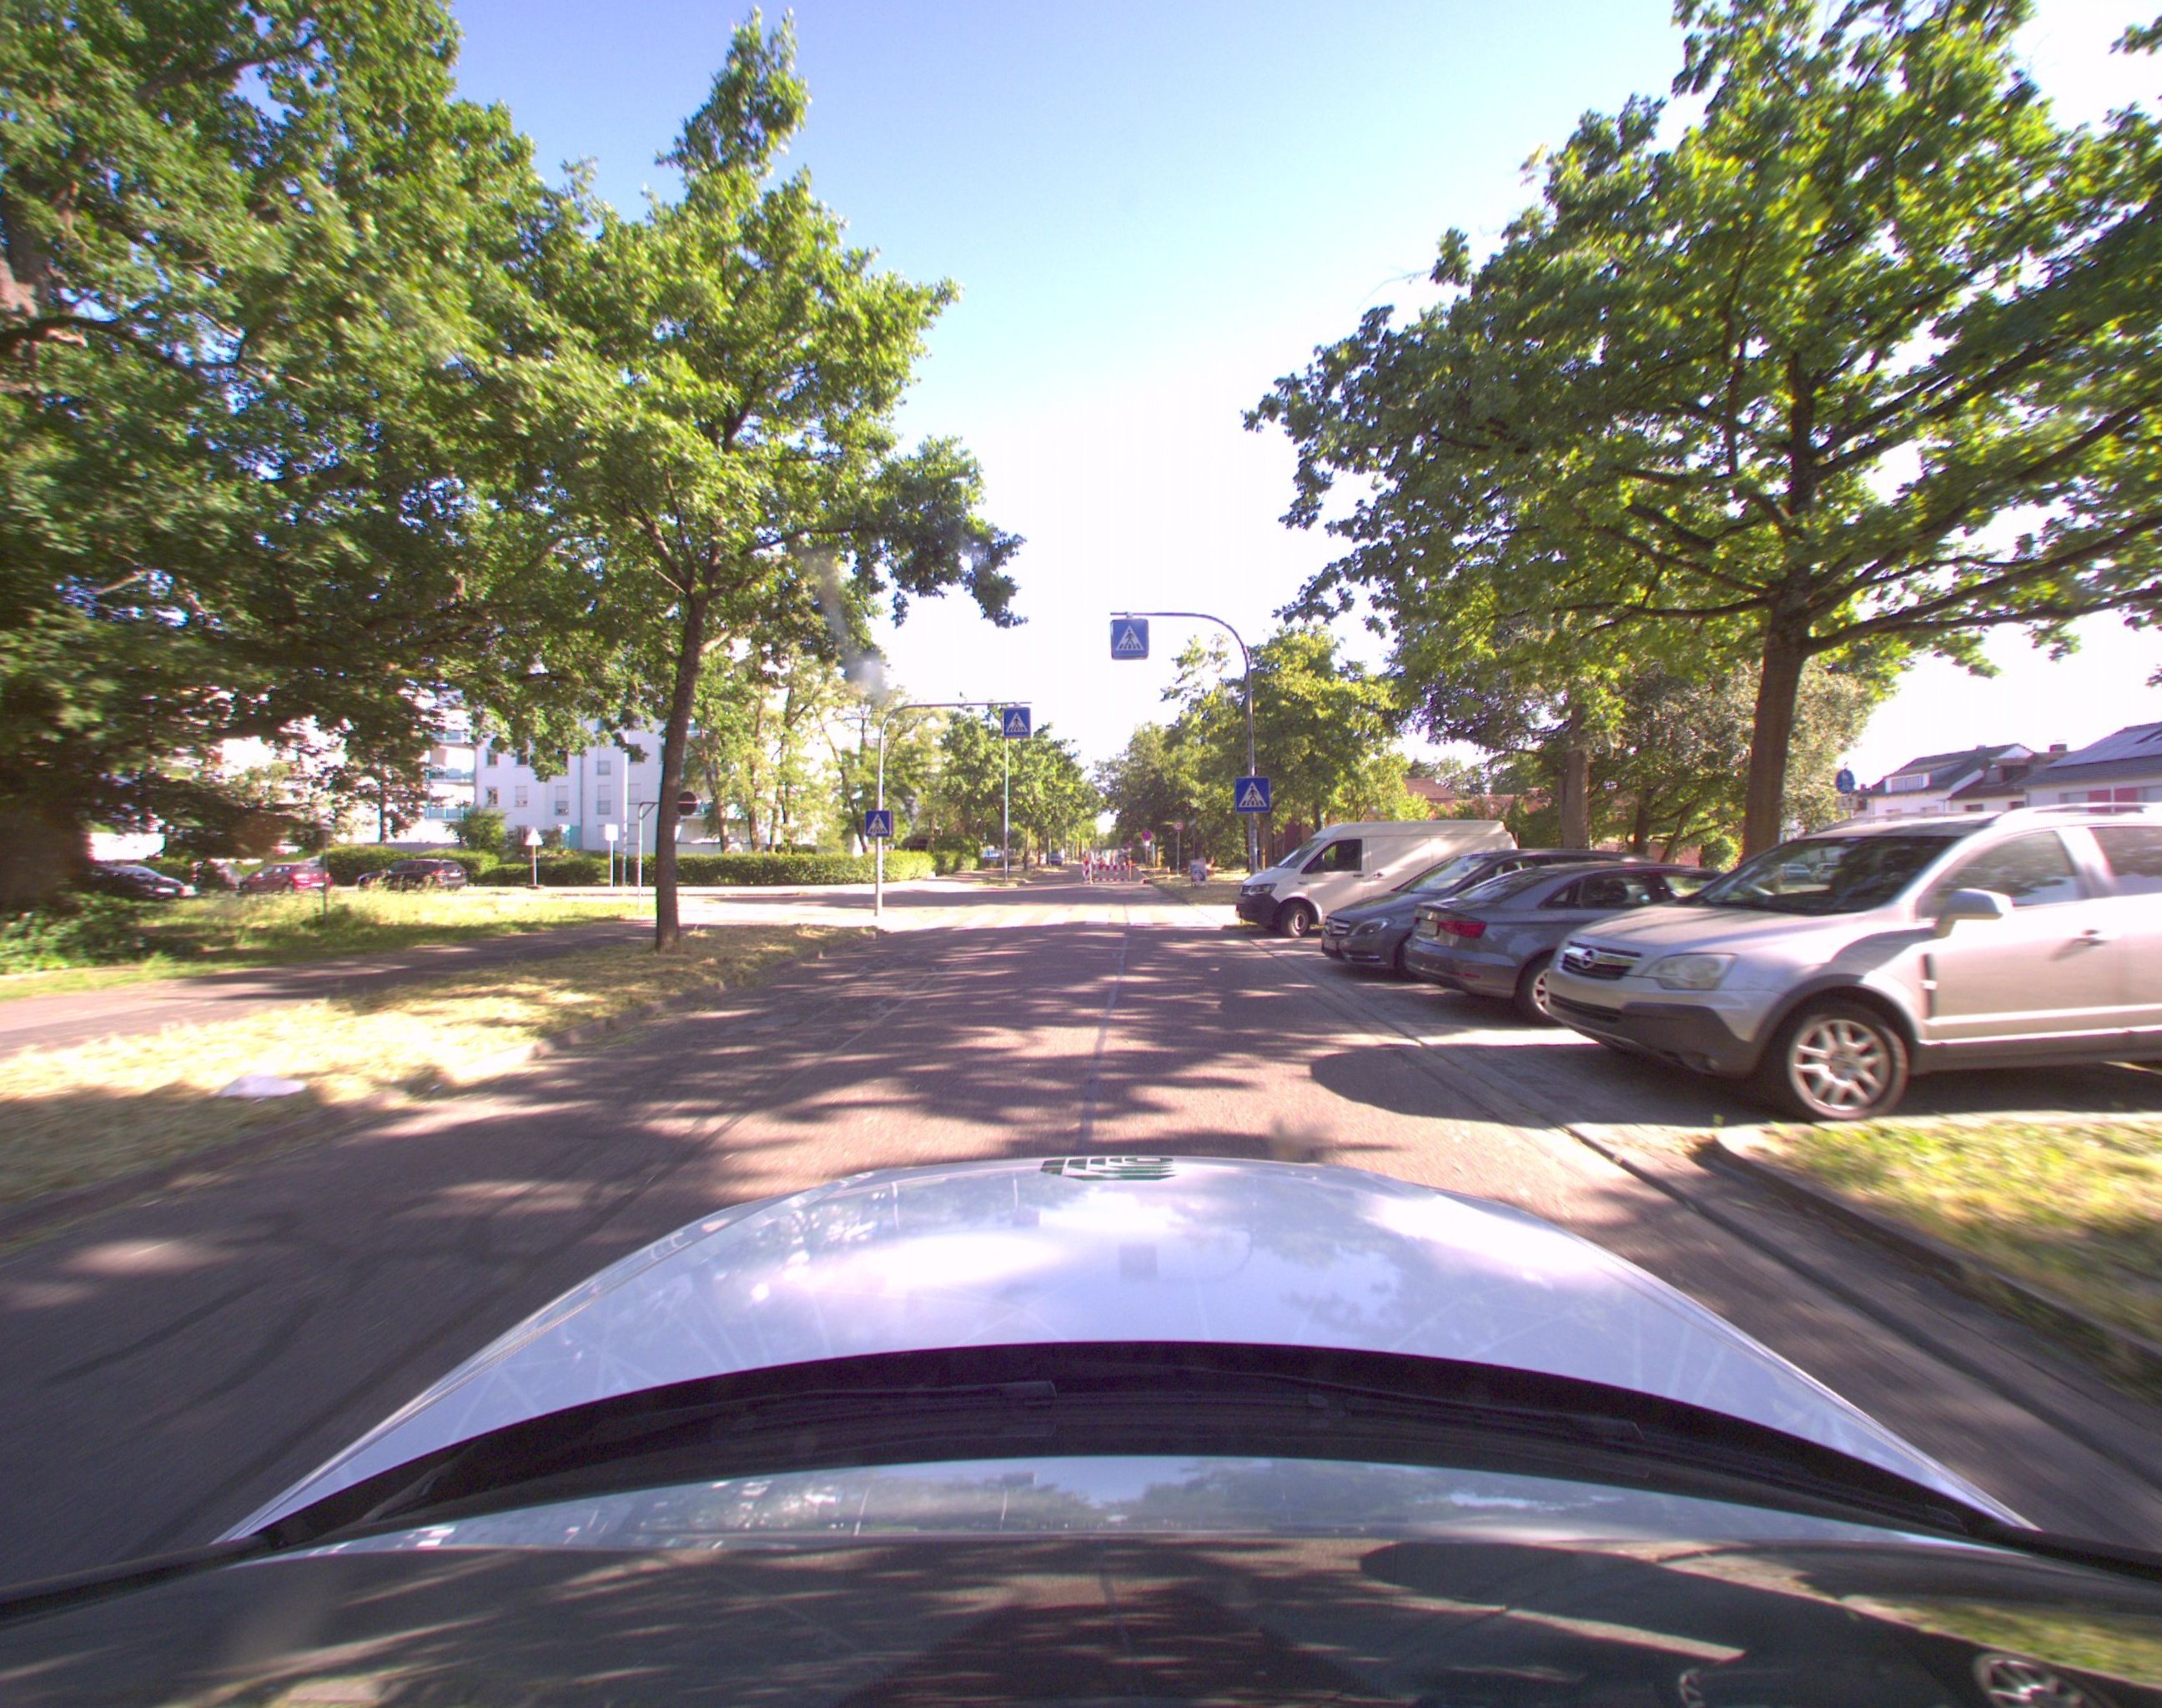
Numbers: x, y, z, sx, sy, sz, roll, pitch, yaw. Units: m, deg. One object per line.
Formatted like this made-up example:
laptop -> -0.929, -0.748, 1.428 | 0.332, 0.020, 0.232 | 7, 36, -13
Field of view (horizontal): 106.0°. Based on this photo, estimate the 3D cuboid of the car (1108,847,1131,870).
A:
car -> 3.382, 0.396, 72.103 | 1.986, 1.933, 4.001 | 0, 0, 1

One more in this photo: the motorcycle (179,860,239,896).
motorcycle -> -32.047, 0.852, 29.983 | 1.155, 1.253, 2.534 | 0, 0, -39

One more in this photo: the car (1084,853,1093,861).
car -> 1.635, 0.701, 186.373 | 1.986, 1.716, 4.001 | -1, 0, 1

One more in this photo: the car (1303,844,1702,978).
car -> 5.215, 0.664, 10.527 | 4.199, 1.568, 1.933 | 0, 0, -1

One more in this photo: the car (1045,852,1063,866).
car -> -3.273, 0.585, 98.795 | 1.986, 1.716, 4.001 | 0, 0, 1

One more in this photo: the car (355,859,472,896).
car -> -31.117, 1.072, 38.031 | 3.964, 1.613, 2.019 | 0, 0, 8

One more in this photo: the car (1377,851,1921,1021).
car -> 5.198, 0.718, 7.954 | 3.970, 1.433, 1.902 | -1, 0, 3

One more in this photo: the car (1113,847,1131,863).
car -> 4.624, 0.130, 92.520 | 1.986, 1.716, 4.001 | 0, 0, 1

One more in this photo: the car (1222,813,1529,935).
car -> 5.478, 0.372, 15.687 | 5.170, 2.105, 2.082 | -1, -1, 0

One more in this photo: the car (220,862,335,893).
car -> -38.094, 1.095, 38.641 | 3.964, 1.423, 1.815 | 0, 0, 8

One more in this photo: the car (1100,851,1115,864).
car -> 3.497, 0.414, 108.303 | 1.986, 1.716, 4.001 | 0, 0, 1

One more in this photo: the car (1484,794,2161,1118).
car -> 5.315, 0.522, 5.373 | 4.370, 1.651, 1.850 | -2, 0, -1
